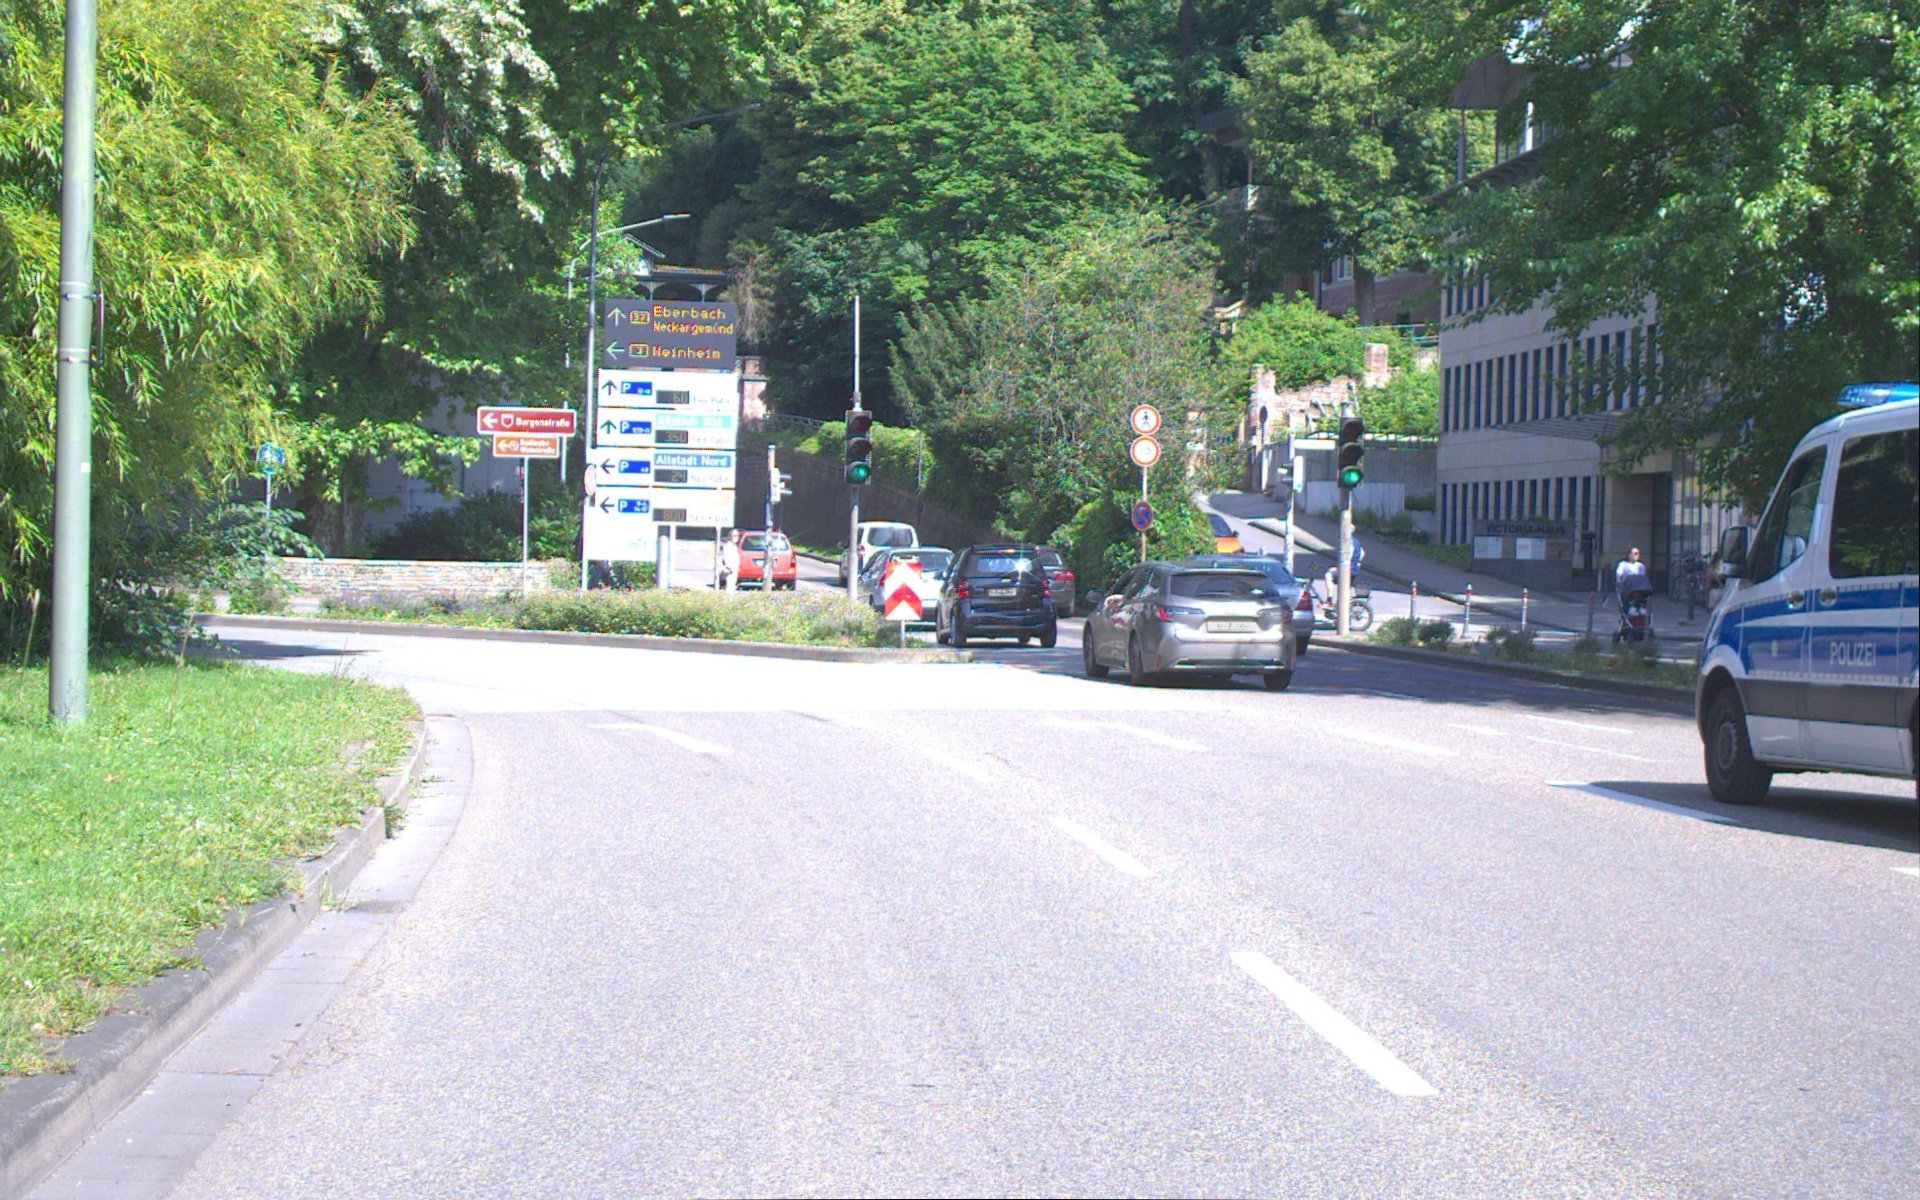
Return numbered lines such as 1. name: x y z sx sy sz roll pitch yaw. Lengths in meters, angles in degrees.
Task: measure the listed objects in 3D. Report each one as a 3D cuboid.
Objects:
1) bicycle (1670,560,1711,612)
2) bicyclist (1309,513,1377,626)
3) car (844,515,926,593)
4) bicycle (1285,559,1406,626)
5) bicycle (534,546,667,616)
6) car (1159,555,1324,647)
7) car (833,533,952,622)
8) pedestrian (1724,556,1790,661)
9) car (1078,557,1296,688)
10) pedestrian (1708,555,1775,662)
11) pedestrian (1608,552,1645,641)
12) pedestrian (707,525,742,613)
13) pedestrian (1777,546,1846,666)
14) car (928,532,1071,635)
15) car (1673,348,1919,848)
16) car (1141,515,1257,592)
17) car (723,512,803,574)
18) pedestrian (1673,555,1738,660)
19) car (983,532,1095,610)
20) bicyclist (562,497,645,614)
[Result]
1. bicycle: 14.696 -0.280 69.213 0.405 1.009 1.341 1 1 -5
2. bicyclist: 6.715 -0.540 60.188 1.126 1.926 0.748 2 1 7
3. car: -1.960 -1.208 88.794 1.756 1.931 3.495 2 1 -6
4. bicycle: 6.749 -0.131 60.195 2.077 1.109 0.757 2 1 7
5. bicycle: -6.053 -0.326 57.836 2.078 1.109 0.756 2 1 19
6. car: 4.096 -0.011 50.552 1.756 1.209 3.495 2 1 -6
7. car: -1.230 -0.426 60.812 1.756 1.456 3.647 2 1 -6
8. pedestrian: 12.904 0.131 55.683 0.771 1.657 0.829 2 1 -4
9. car: 2.535 0.226 39.213 1.756 1.329 3.802 2 1 -7
10. pedestrian: 12.389 0.135 54.524 0.771 1.657 0.829 2 1 -5
11. pedestrian: 11.017 -0.066 56.801 0.489 1.453 0.733 1 1 18
12. pedestrian: -4.358 -0.583 63.674 0.547 1.615 0.634 1 2 3
13. pedestrian: 13.455 0.089 54.350 0.771 1.848 0.829 2 1 -5
14. car: 0.576 -0.277 52.821 1.756 1.456 3.495 2 1 -6
15. car: 5.697 -0.008 18.594 2.073 2.500 4.930 2 1 -7
16. car: 5.418 -1.071 78.382 1.931 1.691 4.001 1 1 -6
17. car: -4.915 -1.420 85.442 1.756 1.456 3.495 2 1 -6
18. pedestrian: 12.100 0.120 55.829 0.771 1.657 0.829 2 1 -5
19. car: 1.571 -0.611 69.241 1.756 1.456 3.647 2 1 -6
20. bicyclist: -5.994 -0.744 57.817 1.127 1.926 0.747 2 1 19
